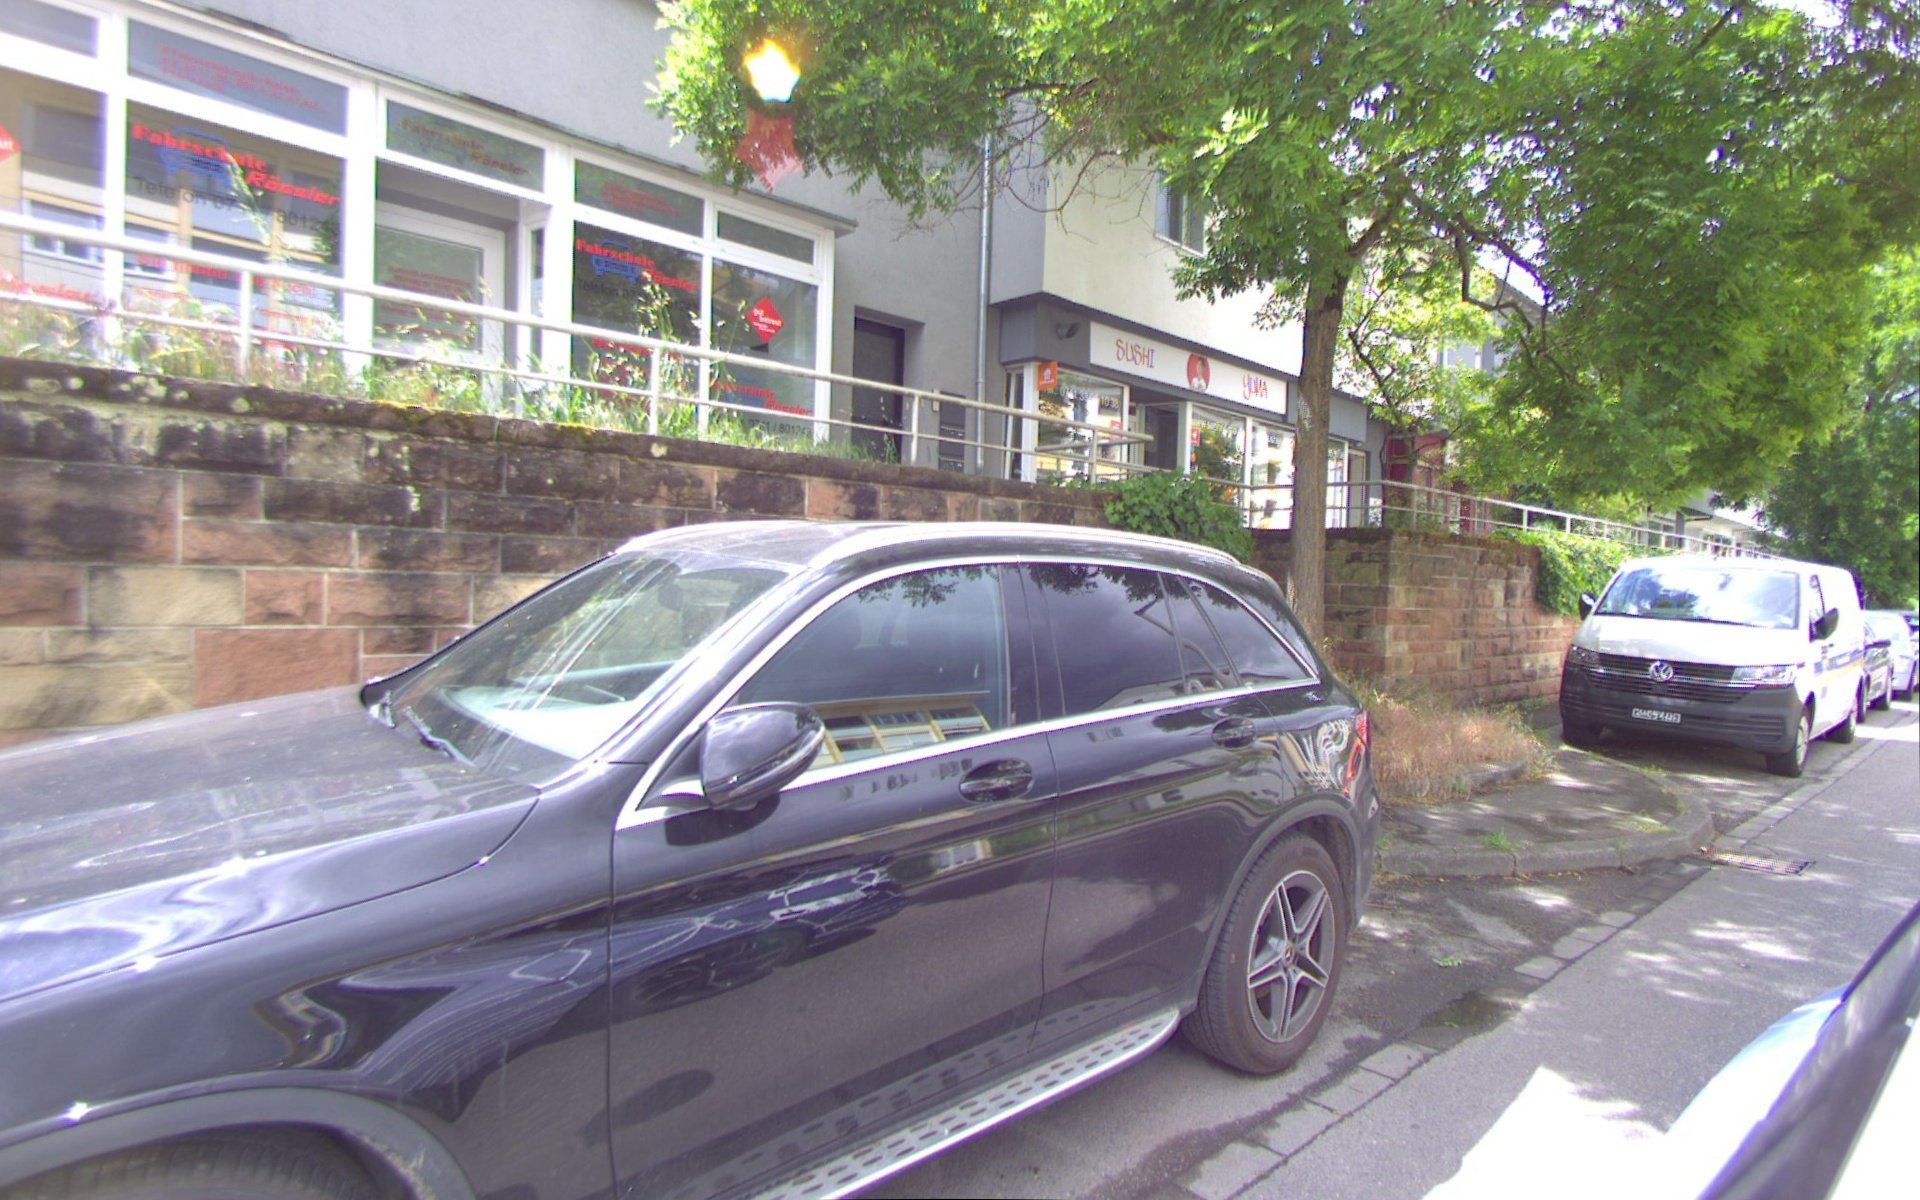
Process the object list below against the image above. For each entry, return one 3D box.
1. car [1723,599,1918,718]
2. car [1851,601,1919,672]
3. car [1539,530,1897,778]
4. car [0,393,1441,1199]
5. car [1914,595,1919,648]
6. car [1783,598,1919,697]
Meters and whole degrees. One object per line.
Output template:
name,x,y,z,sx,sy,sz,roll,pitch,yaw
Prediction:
car,12.353,0.736,14.456,3.669,1.446,1.577,0,1,-41
car,21.216,0.772,22.346,4.075,1.446,1.783,0,1,-41
car,8.038,0.415,10.530,4.925,1.994,1.977,0,1,-41
car,-0.550,0.534,2.821,4.371,1.637,1.793,0,3,-42
car,32.218,0.713,32.680,4.078,1.674,1.816,0,1,-44
car,16.046,0.751,17.871,4.076,1.445,1.783,0,4,-44
